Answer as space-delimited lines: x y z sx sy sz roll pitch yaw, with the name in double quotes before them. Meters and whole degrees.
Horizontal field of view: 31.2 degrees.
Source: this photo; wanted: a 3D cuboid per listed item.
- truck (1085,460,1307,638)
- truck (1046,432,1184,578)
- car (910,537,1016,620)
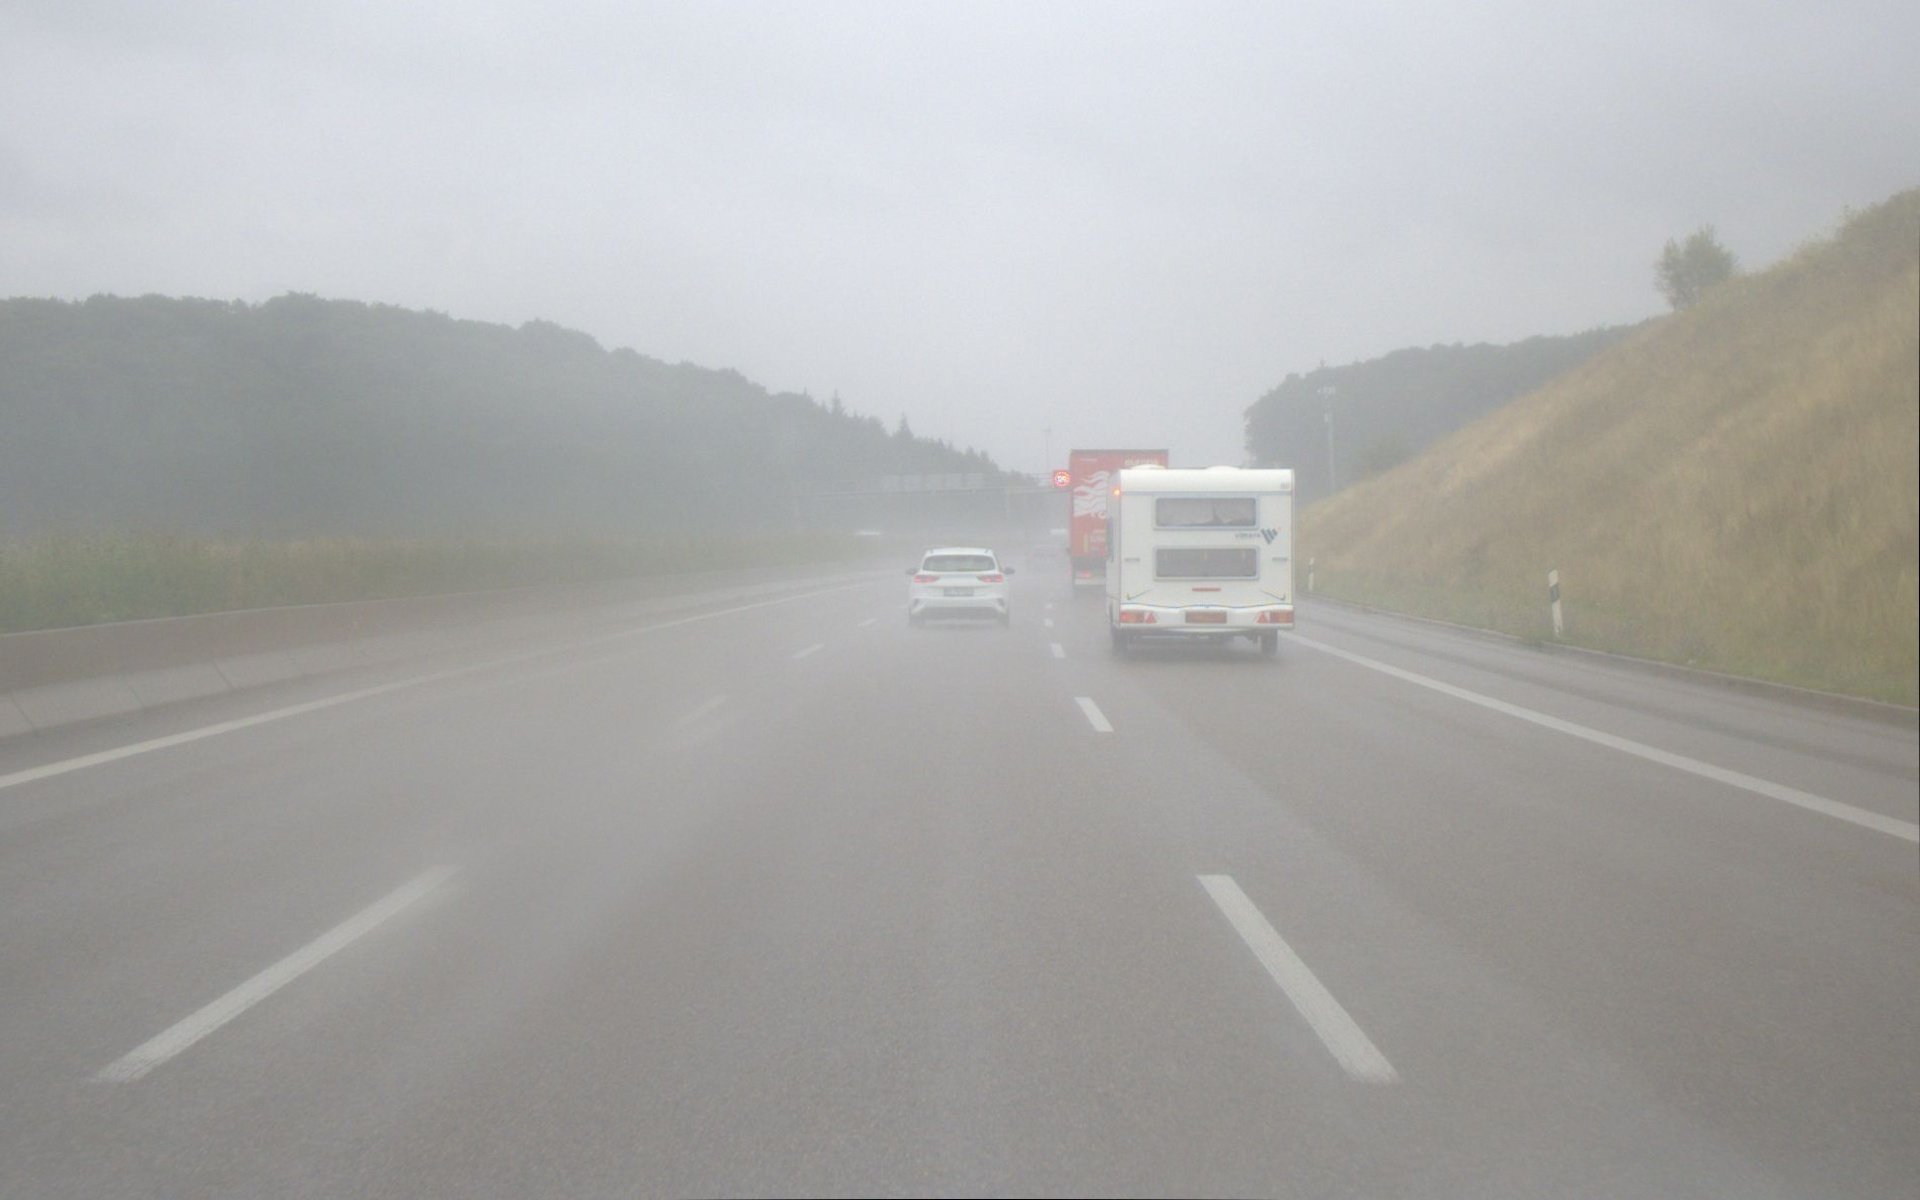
"truck" 3.075 -0.677 45.885 2.407 2.244 4.693 0 1 -3
"truck" 4.305 -2.623 95.067 3.527 3.730 11.425 1 2 3
"car" 0.026 -0.379 62.549 1.867 1.458 4.000 0 0 -1
